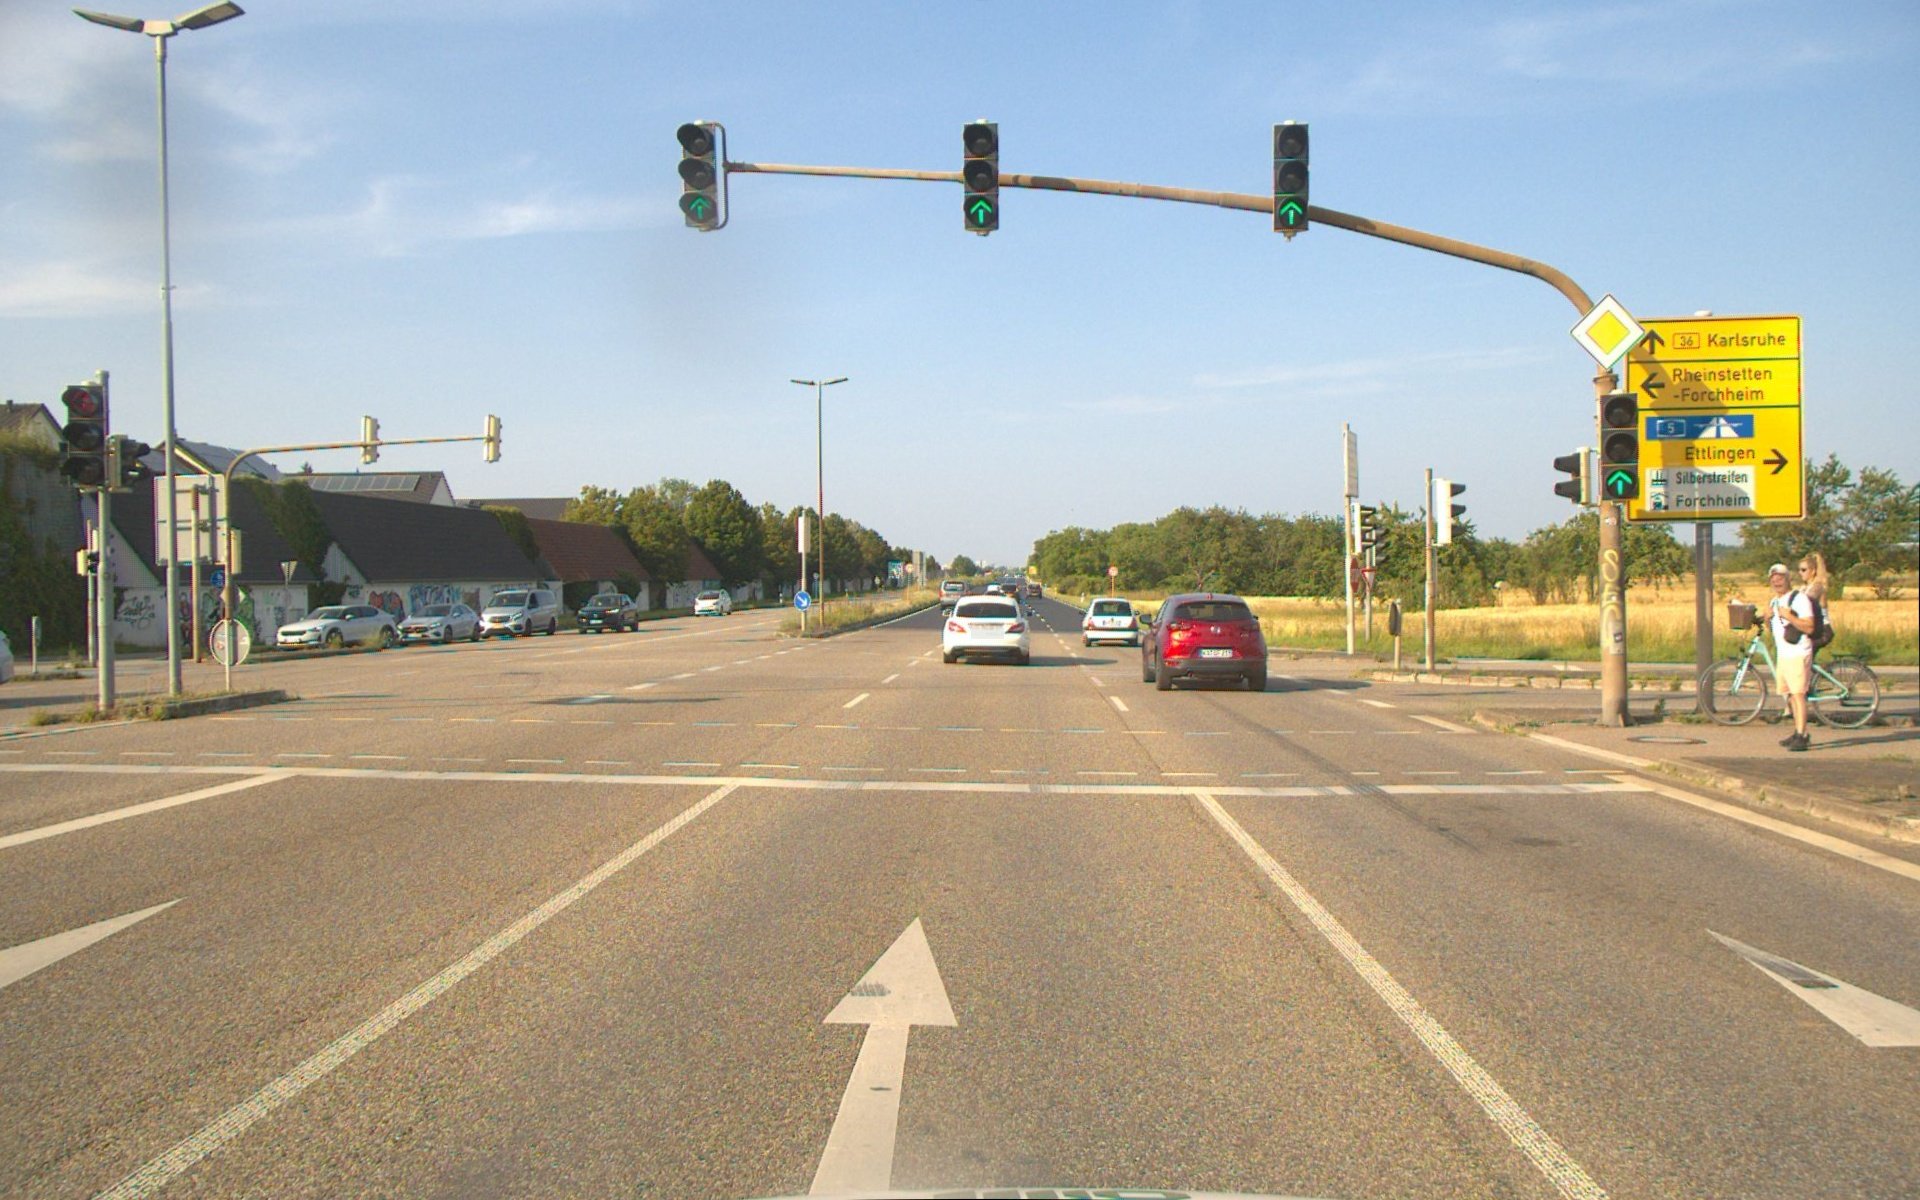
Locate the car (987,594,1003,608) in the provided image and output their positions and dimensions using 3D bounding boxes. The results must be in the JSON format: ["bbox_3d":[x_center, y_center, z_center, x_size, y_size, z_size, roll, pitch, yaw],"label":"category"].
[{"bbox_3d":[4.209,0.150,199.117,1.759,1.680,3.540,1,0,-1],"label":"car"}]

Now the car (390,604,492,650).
[{"bbox_3d":[-18.778,0.957,60.028,1.666,1.523,4.541,-4,-1,8],"label":"car"}]

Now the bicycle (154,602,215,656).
[{"bbox_3d":[-26.246,0.959,56.044,0.738,1.780,2.608,1,0,2],"label":"bicycle"}]

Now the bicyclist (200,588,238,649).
[{"bbox_3d":[-25.137,0.623,56.132,0.754,2.049,1.062,1,-1,1],"label":"bicyclist"}]

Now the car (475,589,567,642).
[{"bbox_3d":[-17.709,0.617,67.059,1.867,1.961,5.456,-3,-1,4],"label":"car"}]

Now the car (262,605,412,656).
[{"bbox_3d":[-20.016,0.968,53.371,1.909,1.524,4.763,1,0,19],"label":"car"}]

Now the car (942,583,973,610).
[{"bbox_3d":[-0.163,-0.213,106.637,1.721,1.646,4.002,1,0,4],"label":"car"}]

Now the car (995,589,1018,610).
[{"bbox_3d":[3.861,-0.035,137.629,1.790,1.758,4.001,1,0,1],"label":"car"}]

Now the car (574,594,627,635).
[{"bbox_3d":[-14.753,0.594,67.997,1.699,1.568,4.240,-2,0,-7],"label":"car"}]

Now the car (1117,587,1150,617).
[{"bbox_3d":[9.499,0.120,90.801,1.619,1.597,3.681,1,0,4],"label":"car"}]

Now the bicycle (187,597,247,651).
[{"bbox_3d":[-25.154,0.800,56.064,0.738,1.780,2.608,1,0,2],"label":"bicycle"}]

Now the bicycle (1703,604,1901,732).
[{"bbox_3d":[8.985,0.713,17.691,1.814,1.312,0.529,1,-1,4],"label":"bicycle"}]

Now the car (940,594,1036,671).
[{"bbox_3d":[0.649,0.678,36.145,1.952,1.543,4.001,1,0,2],"label":"car"}]

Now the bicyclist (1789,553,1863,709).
[{"bbox_3d":[9.253,0.327,17.674,0.547,1.640,0.505,1,-1,8],"label":"bicyclist"}]

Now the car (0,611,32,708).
[{"bbox_3d":[-15.614,0.944,23.739,1.717,1.487,4.736,-2,0,3],"label":"car"}]

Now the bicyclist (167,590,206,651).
[{"bbox_3d":[-26.220,0.689,56.055,0.754,2.049,1.062,1,-1,1],"label":"bicyclist"}]

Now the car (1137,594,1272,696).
[{"bbox_3d":[3.991,0.695,27.591,1.669,1.532,4.501,1,0,1],"label":"car"}]

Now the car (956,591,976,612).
[{"bbox_3d":[0.635,0.152,170.294,1.801,2.049,4.001,1,0,2],"label":"car"}]

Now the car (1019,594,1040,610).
[{"bbox_3d":[7.124,0.193,169.880,1.953,1.613,4.283,1,0,-1],"label":"car"}]

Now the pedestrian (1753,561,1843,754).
[{"bbox_3d":[7.938,0.530,15.686,0.608,1.782,0.598,1,-1,12],"label":"pedestrian"}]

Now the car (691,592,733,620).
[{"bbox_3d":[-16.226,0.384,108.472,1.798,1.736,4.758,-3,0,2],"label":"car"}]

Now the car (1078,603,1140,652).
[{"bbox_3d":[4.446,0.806,49.844,1.584,1.411,3.952,1,0,1],"label":"car"}]
